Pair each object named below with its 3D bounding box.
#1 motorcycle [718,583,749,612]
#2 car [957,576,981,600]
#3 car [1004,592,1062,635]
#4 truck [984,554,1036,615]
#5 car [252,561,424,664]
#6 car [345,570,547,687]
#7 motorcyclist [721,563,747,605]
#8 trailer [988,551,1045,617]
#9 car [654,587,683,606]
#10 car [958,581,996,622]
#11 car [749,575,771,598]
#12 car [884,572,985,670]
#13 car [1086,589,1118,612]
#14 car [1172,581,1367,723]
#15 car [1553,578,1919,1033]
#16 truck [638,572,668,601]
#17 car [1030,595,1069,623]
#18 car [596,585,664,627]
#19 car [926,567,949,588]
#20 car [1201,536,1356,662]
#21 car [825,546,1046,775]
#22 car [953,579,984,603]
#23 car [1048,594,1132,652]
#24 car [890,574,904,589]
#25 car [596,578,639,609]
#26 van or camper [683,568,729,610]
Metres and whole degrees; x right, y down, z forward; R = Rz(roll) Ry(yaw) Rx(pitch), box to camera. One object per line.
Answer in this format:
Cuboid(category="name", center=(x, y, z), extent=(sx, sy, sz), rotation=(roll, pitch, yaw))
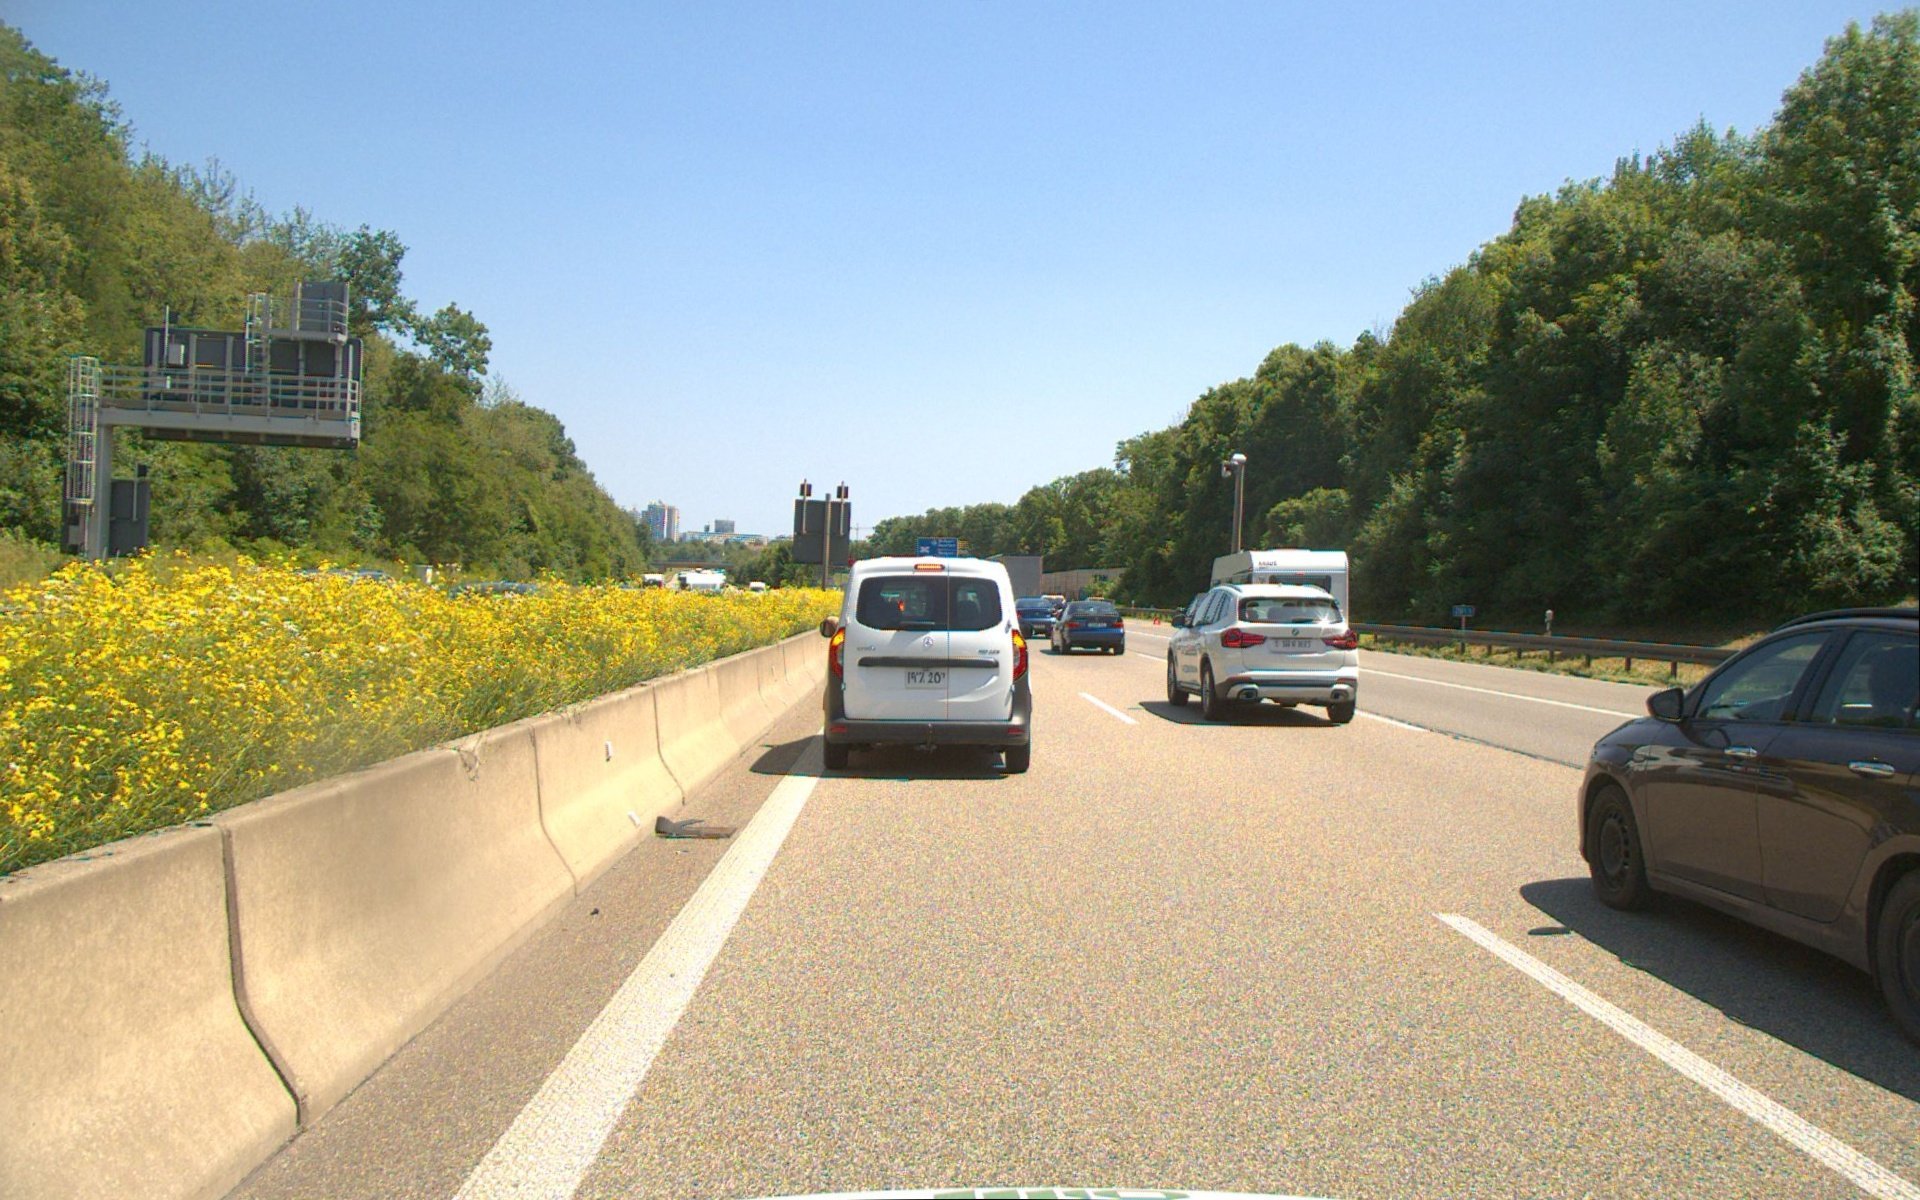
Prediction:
Cuboid(category="motorcycle", center=(-9.977, -0.118, 72.904), extent=(1.019, 1.236, 2.613), rotation=(1, 0, -1))
Cuboid(category="car", center=(0.769, -1.079, 144.013), extent=(1.953, 2.049, 3.999), rotation=(1, 0, -1))
Cuboid(category="car", center=(2.563, 0.456, 58.925), extent=(1.787, 1.449, 3.999), rotation=(1, 0, -2))
Cuboid(category="truck", center=(3.392, -1.063, 115.080), extent=(3.019, 4.055, 9.643), rotation=(1, 0, -2))
Cuboid(category="car", center=(-11.459, 0.203, 30.761), extent=(1.701, 1.764, 4.147), rotation=(1, 0, -2))
Cuboid(category="car", center=(-7.290, 0.365, 23.853), extent=(1.701, 1.524, 3.999), rotation=(1, 0, -1))
Cuboid(category="motorcyclist", center=(-9.954, -0.718, 72.865), extent=(1.010, 1.817, 1.283), rotation=(1, 0, -2))
Cuboid(category="trailer", center=(3.600, -1.004, 107.772), extent=(3.019, 4.055, 10.320), rotation=(1, 0, -2))
Cuboid(category="car", center=(-25.482, -0.305, 144.794), extent=(1.953, 1.602, 3.999), rotation=(1, 0, -2))
Cuboid(category="car", center=(0.847, 0.072, 84.890), extent=(1.787, 2.024, 3.999), rotation=(1, 0, -2))
Cuboid(category="car", center=(-22.837, -1.520, 189.016), extent=(1.953, 2.586, 5.907), rotation=(1, 0, -1))
Cuboid(category="car", center=(-0.555, 0.406, 34.434), extent=(1.953, 1.892, 3.999), rotation=(1, 0, -2))
Cuboid(category="car", center=(9.720, 0.035, 113.415), extent=(1.752, 1.545, 3.999), rotation=(1, 0, -1))
Cuboid(category="car", center=(3.920, 0.592, 21.573), extent=(1.832, 1.636, 3.879), rotation=(1, 1, 1))
Cuboid(category="car", center=(4.153, 0.704, 6.718), extent=(1.801, 1.539, 4.401), rotation=(1, 1, -1))
Cuboid(category="truck", center=(-34.346, -1.505, 185.279), extent=(2.358, 3.058, 7.455), rotation=(1, 0, -3))
Cuboid(category="car", center=(4.826, 0.458, 89.346), extent=(1.787, 1.449, 3.999), rotation=(1, 0, -2))
Cuboid(category="car", center=(-12.653, 0.211, 63.719), extent=(1.802, 1.548, 4.356), rotation=(1, 0, -1))
Cuboid(category="car", center=(-2.211, -2.156, 160.914), extent=(1.955, 2.049, 3.996), rotation=(0, 0, -5))
Cuboid(category="car", center=(7.671, -0.042, 40.564), extent=(2.429, 2.814, 6.218), rotation=(1, 0, -2))
Cuboid(category="car", center=(-0.273, 0.478, 15.391), extent=(1.766, 1.839, 3.998), rotation=(1, 0, -2))
Cuboid(category="car", center=(0.509, -0.584, 104.699), extent=(1.787, 1.472, 3.999), rotation=(1, 0, -2))
Cuboid(category="car", center=(3.394, 0.569, 43.721), extent=(1.787, 1.449, 3.999), rotation=(1, 0, -2))
Cuboid(category="car", center=(-8.924, -2.654, 233.562), extent=(1.953, 2.049, 3.999), rotation=(1, 0, -2))
Cuboid(category="car", center=(-19.618, -0.375, 94.854), extent=(1.720, 1.725, 4.420), rotation=(1, 0, -3))
Cuboid(category="van or camper", center=(-16.886, -0.739, 110.360), extent=(2.262, 2.682, 7.395), rotation=(1, 0, -3))
